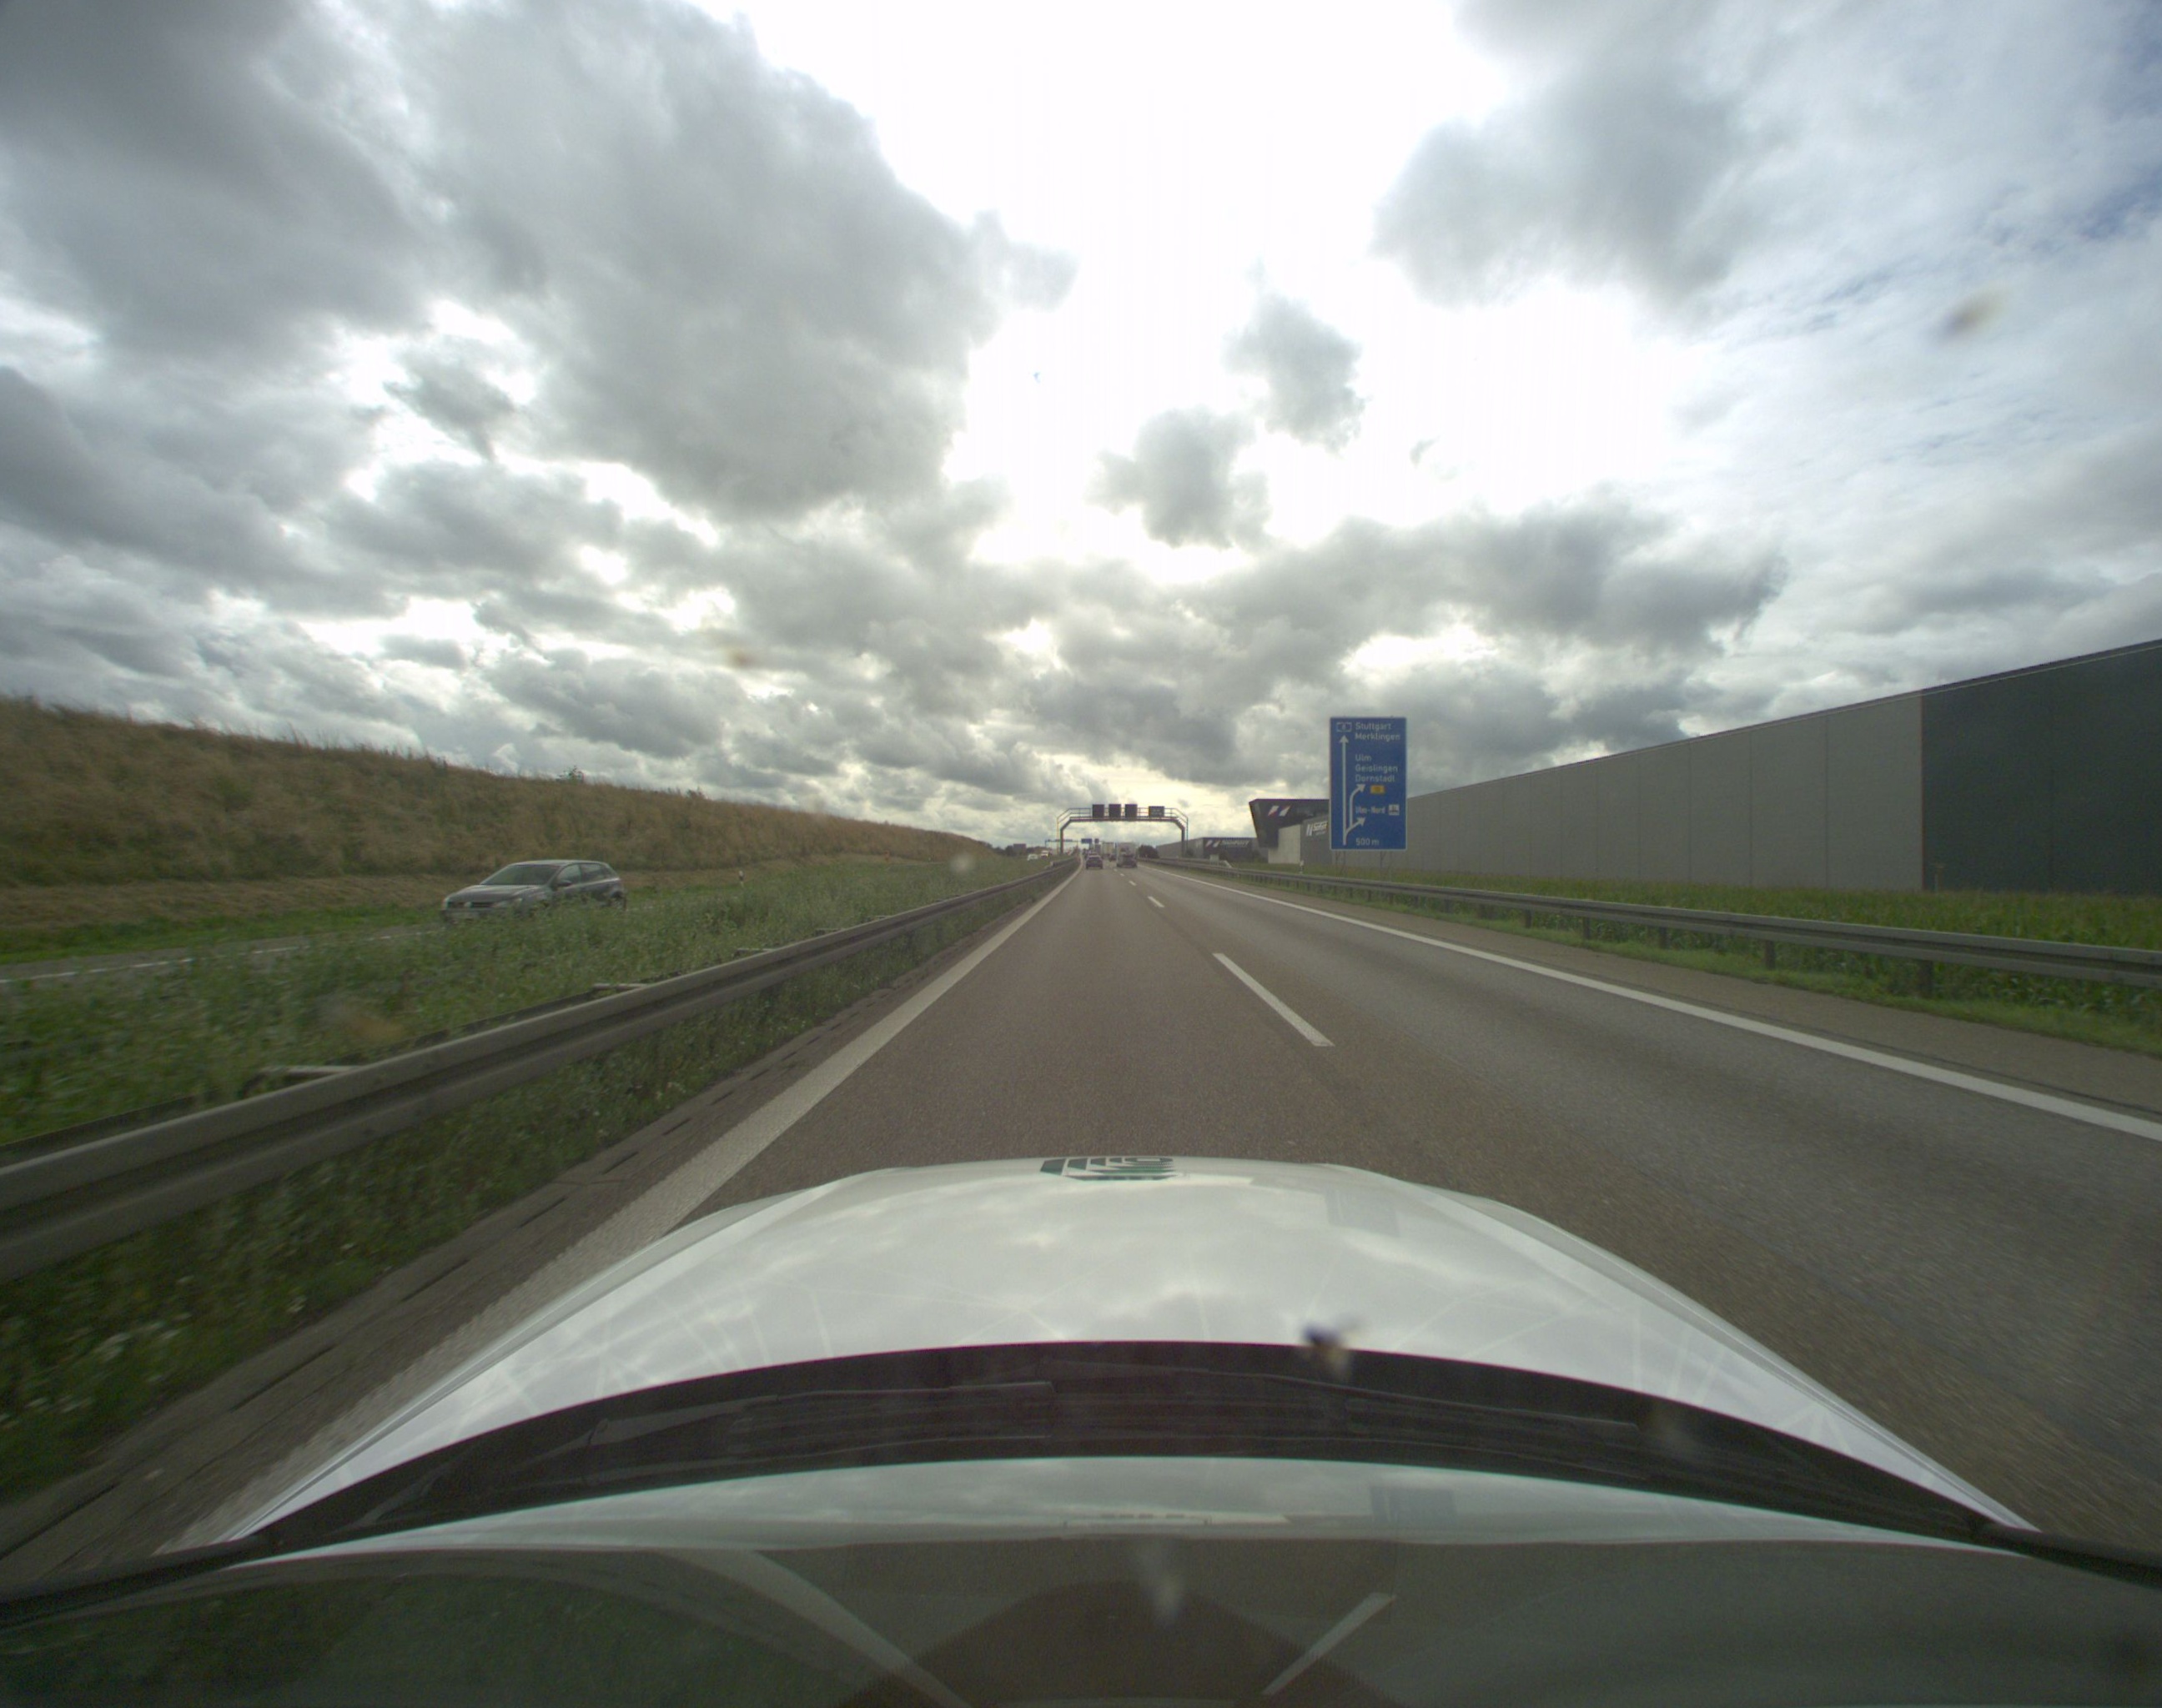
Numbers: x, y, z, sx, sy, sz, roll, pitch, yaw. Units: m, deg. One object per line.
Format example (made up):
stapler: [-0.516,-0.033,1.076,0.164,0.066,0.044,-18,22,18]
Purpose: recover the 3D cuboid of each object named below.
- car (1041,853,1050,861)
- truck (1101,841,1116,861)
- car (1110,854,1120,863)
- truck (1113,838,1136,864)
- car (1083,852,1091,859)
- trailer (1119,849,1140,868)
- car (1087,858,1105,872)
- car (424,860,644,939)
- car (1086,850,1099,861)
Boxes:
car: [-9.190,0.830,212.264,1.987,2.013,4.708,-1,0,1]
truck: [6.390,-0.744,191.129,3.328,4.534,8.016,0,-1,0]
car: [6.058,0.785,146.784,1.794,1.685,4.002,0,-1,2]
truck: [5.162,-0.323,97.731,2.473,2.950,5.815,0,-1,1]
car: [1.562,0.366,205.167,1.935,1.775,3.698,0,-1,2]
trailer: [5.356,0.497,90.342,2.329,2.136,4.002,0,-1,2]
car: [1.623,1.134,87.340,1.739,1.453,4.003,0,-1,3]
car: [-11.121,0.848,16.954,1.765,1.454,4.002,0,-1,2]
car: [1.835,0.250,130.830,1.938,1.685,4.002,0,-1,3]
